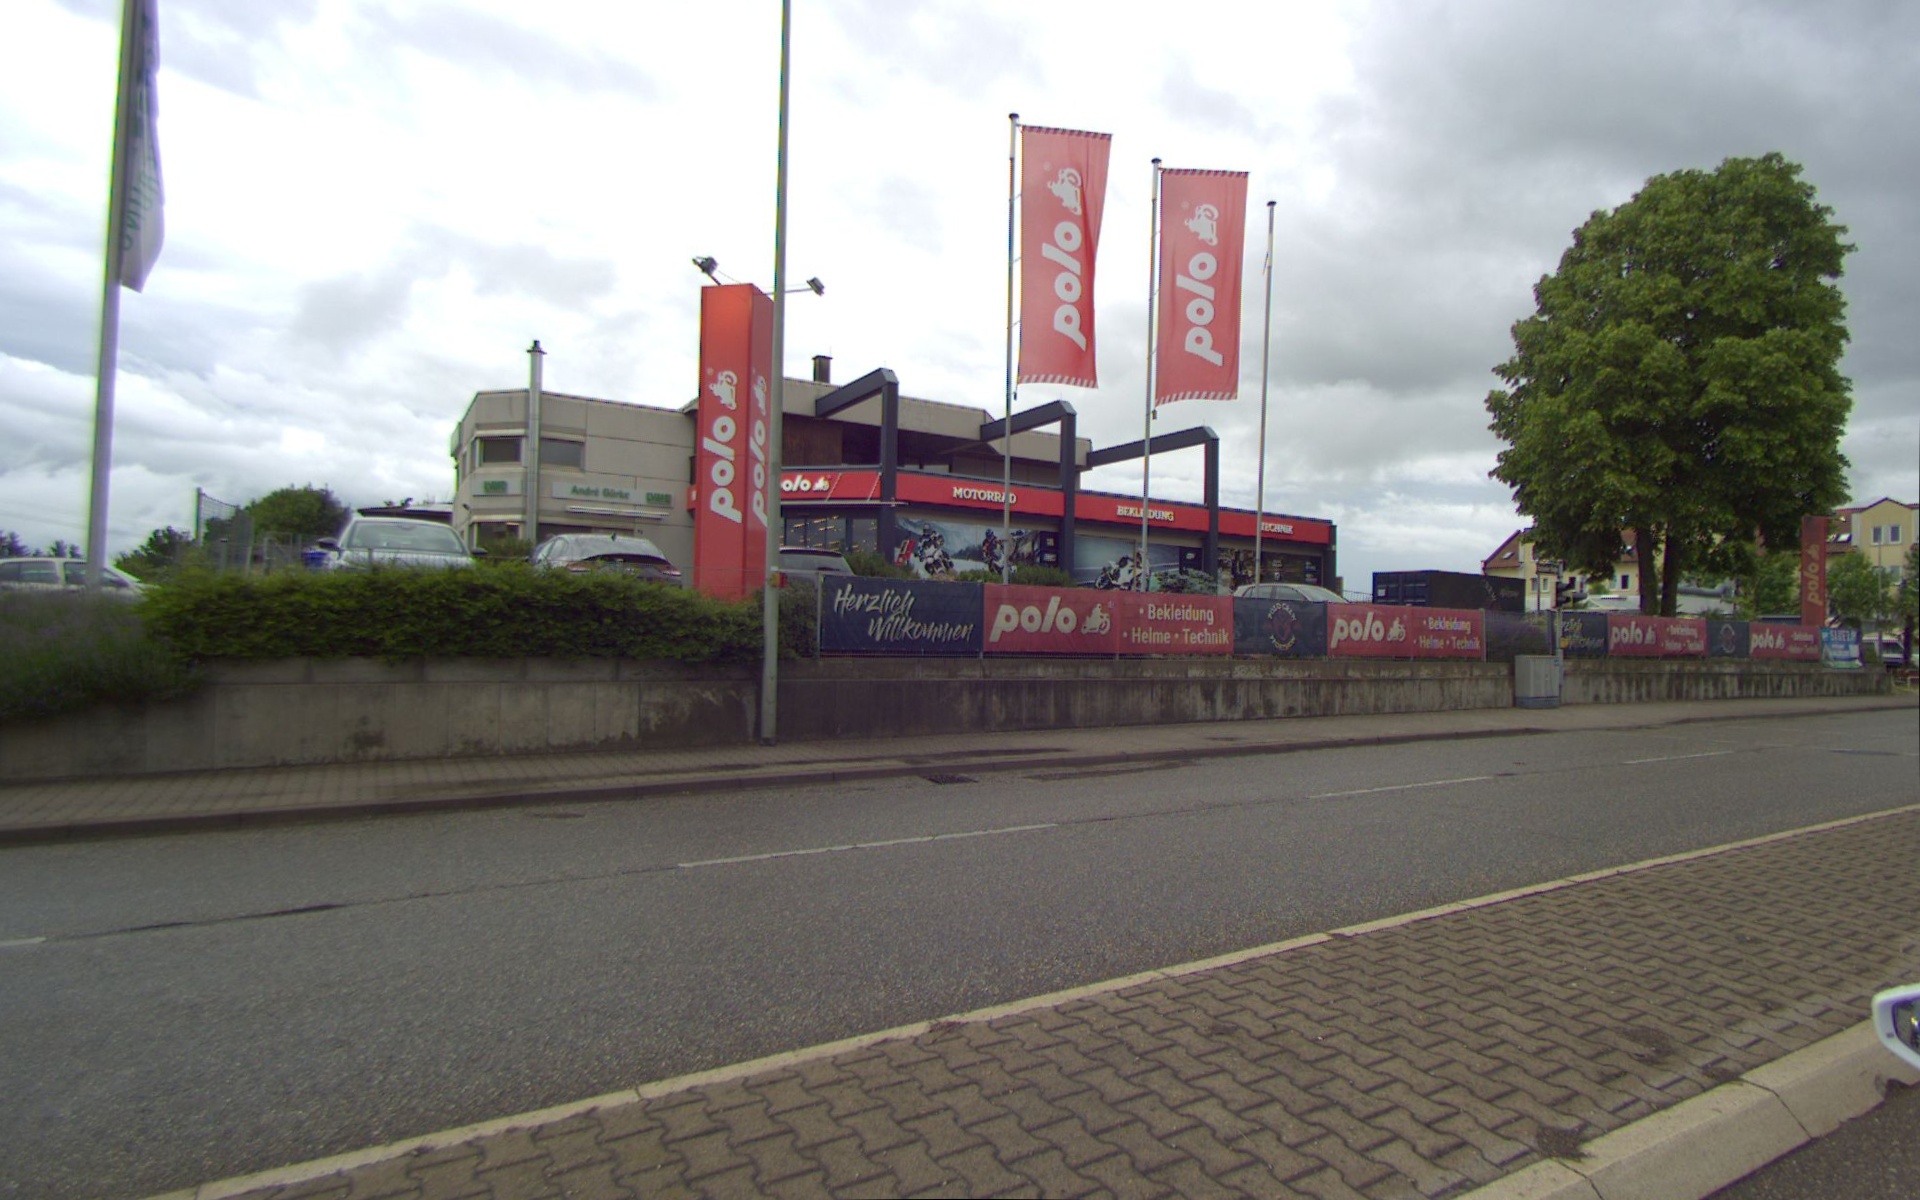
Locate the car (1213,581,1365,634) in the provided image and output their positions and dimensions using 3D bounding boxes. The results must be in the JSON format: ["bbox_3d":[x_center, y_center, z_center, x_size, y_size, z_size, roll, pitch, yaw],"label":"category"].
[{"bbox_3d":[7.885,0.211,24.305,1.438,1.183,3.368,1,-2,-32],"label":"car"}]

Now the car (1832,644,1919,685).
[{"bbox_3d":[42.190,2.877,44.608,4.927,1.724,1.996,-1,-6,33],"label":"car"}]

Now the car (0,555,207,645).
[{"bbox_3d":[-16.635,0.032,19.238,3.346,1.617,1.520,1,-2,-30],"label":"car"}]

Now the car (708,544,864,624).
[{"bbox_3d":[-3.012,-0.208,16.883,1.438,1.183,3.368,1,-2,-32],"label":"car"}]

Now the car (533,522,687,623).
[{"bbox_3d":[-5.251,-0.314,14.843,1.438,1.294,3.368,1,-2,-32],"label":"car"}]

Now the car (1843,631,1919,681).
[{"bbox_3d":[40.394,2.370,42.429,4.324,2.040,1.996,-2,-3,32],"label":"car"}]

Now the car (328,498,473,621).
[{"bbox_3d":[-7.203,-0.410,13.016,1.436,1.355,3.372,1,-2,-29],"label":"car"}]

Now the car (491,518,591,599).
[{"bbox_3d":[-8.984,-0.805,21.412,1.438,1.492,3.368,1,-2,-32],"label":"car"}]
